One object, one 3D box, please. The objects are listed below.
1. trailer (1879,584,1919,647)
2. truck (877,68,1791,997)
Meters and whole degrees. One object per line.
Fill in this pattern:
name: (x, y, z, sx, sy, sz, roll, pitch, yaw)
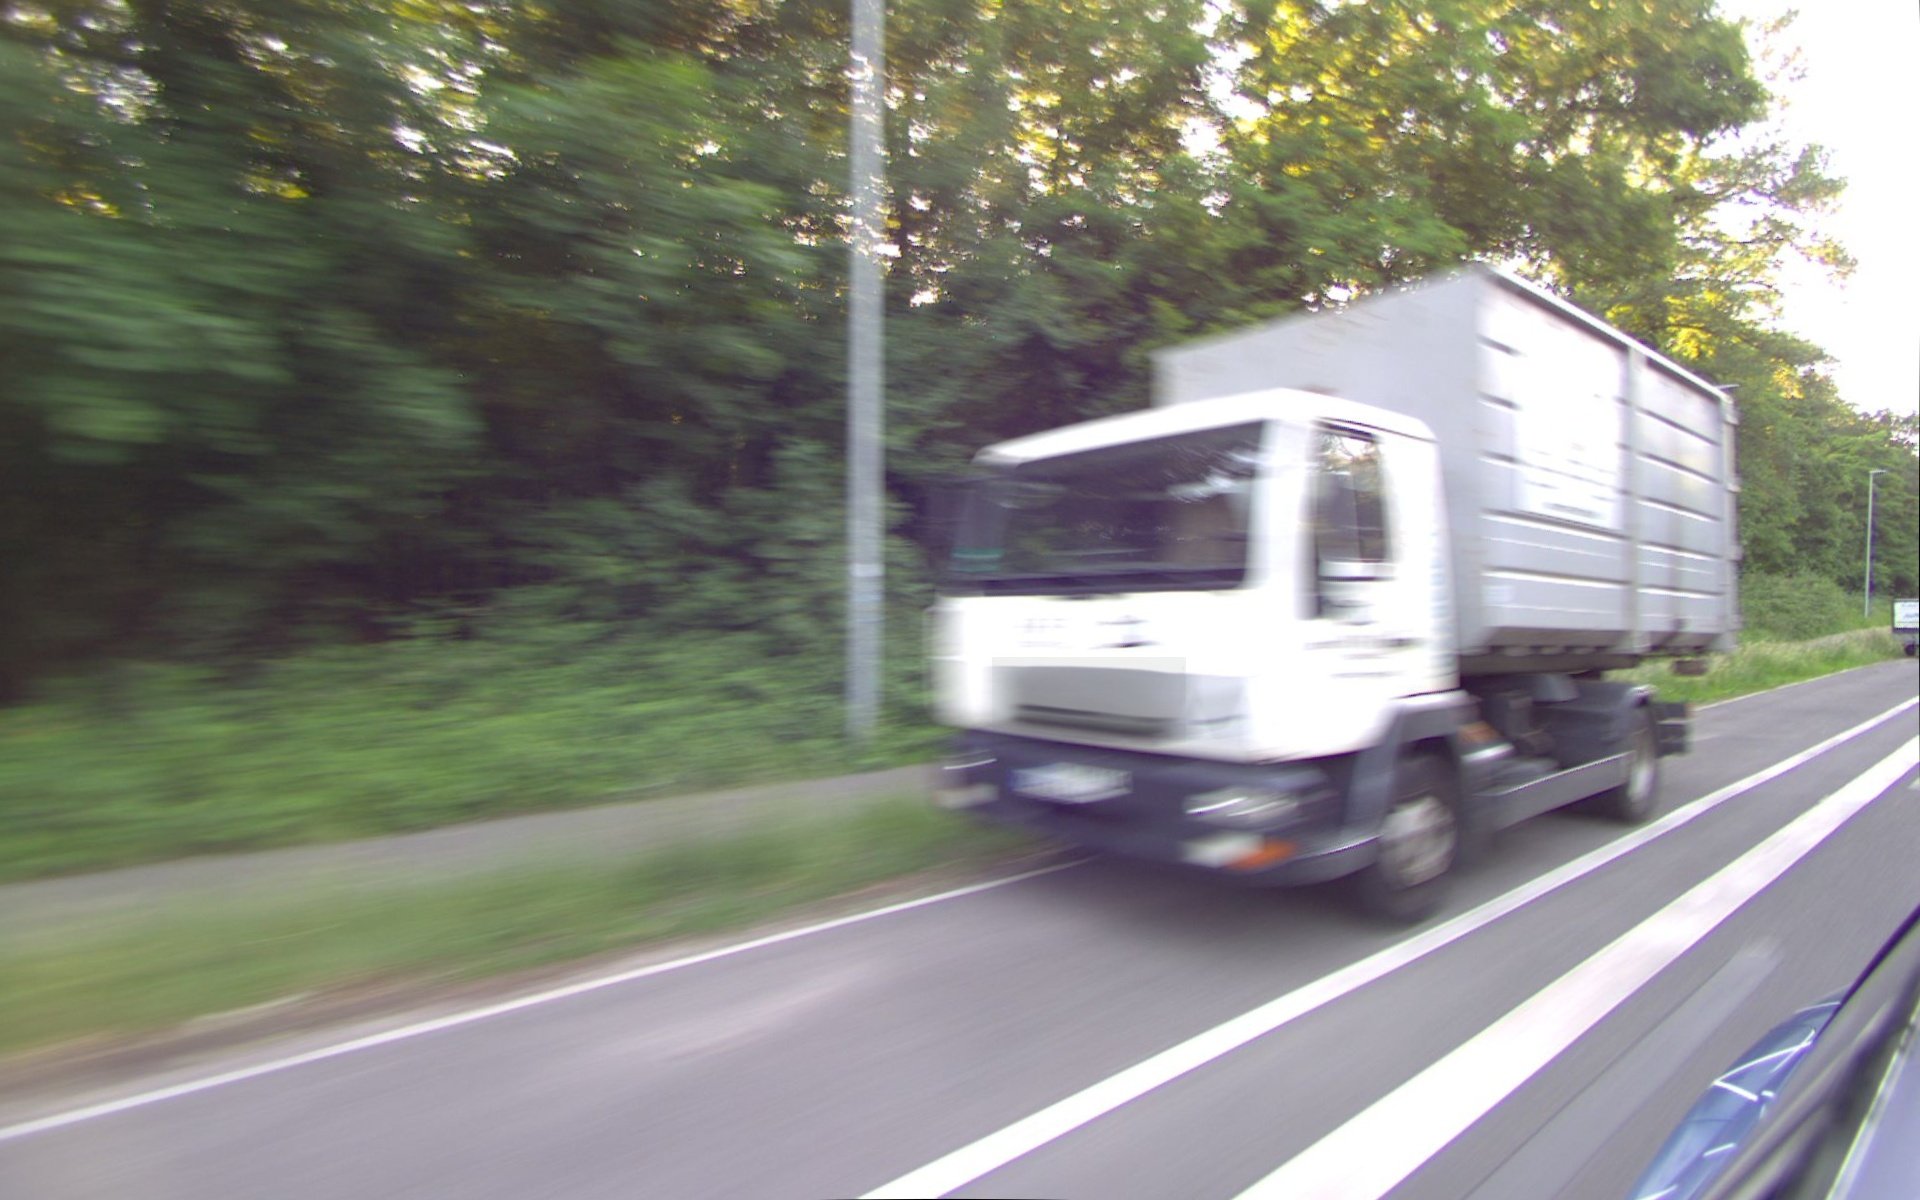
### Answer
trailer: (27.356, 0.432, 27.853, 3.697, 1.682, 1.464, 0, 2, -20)
truck: (3.093, -0.281, 6.861, 7.091, 3.296, 2.594, -1, 0, -39)
